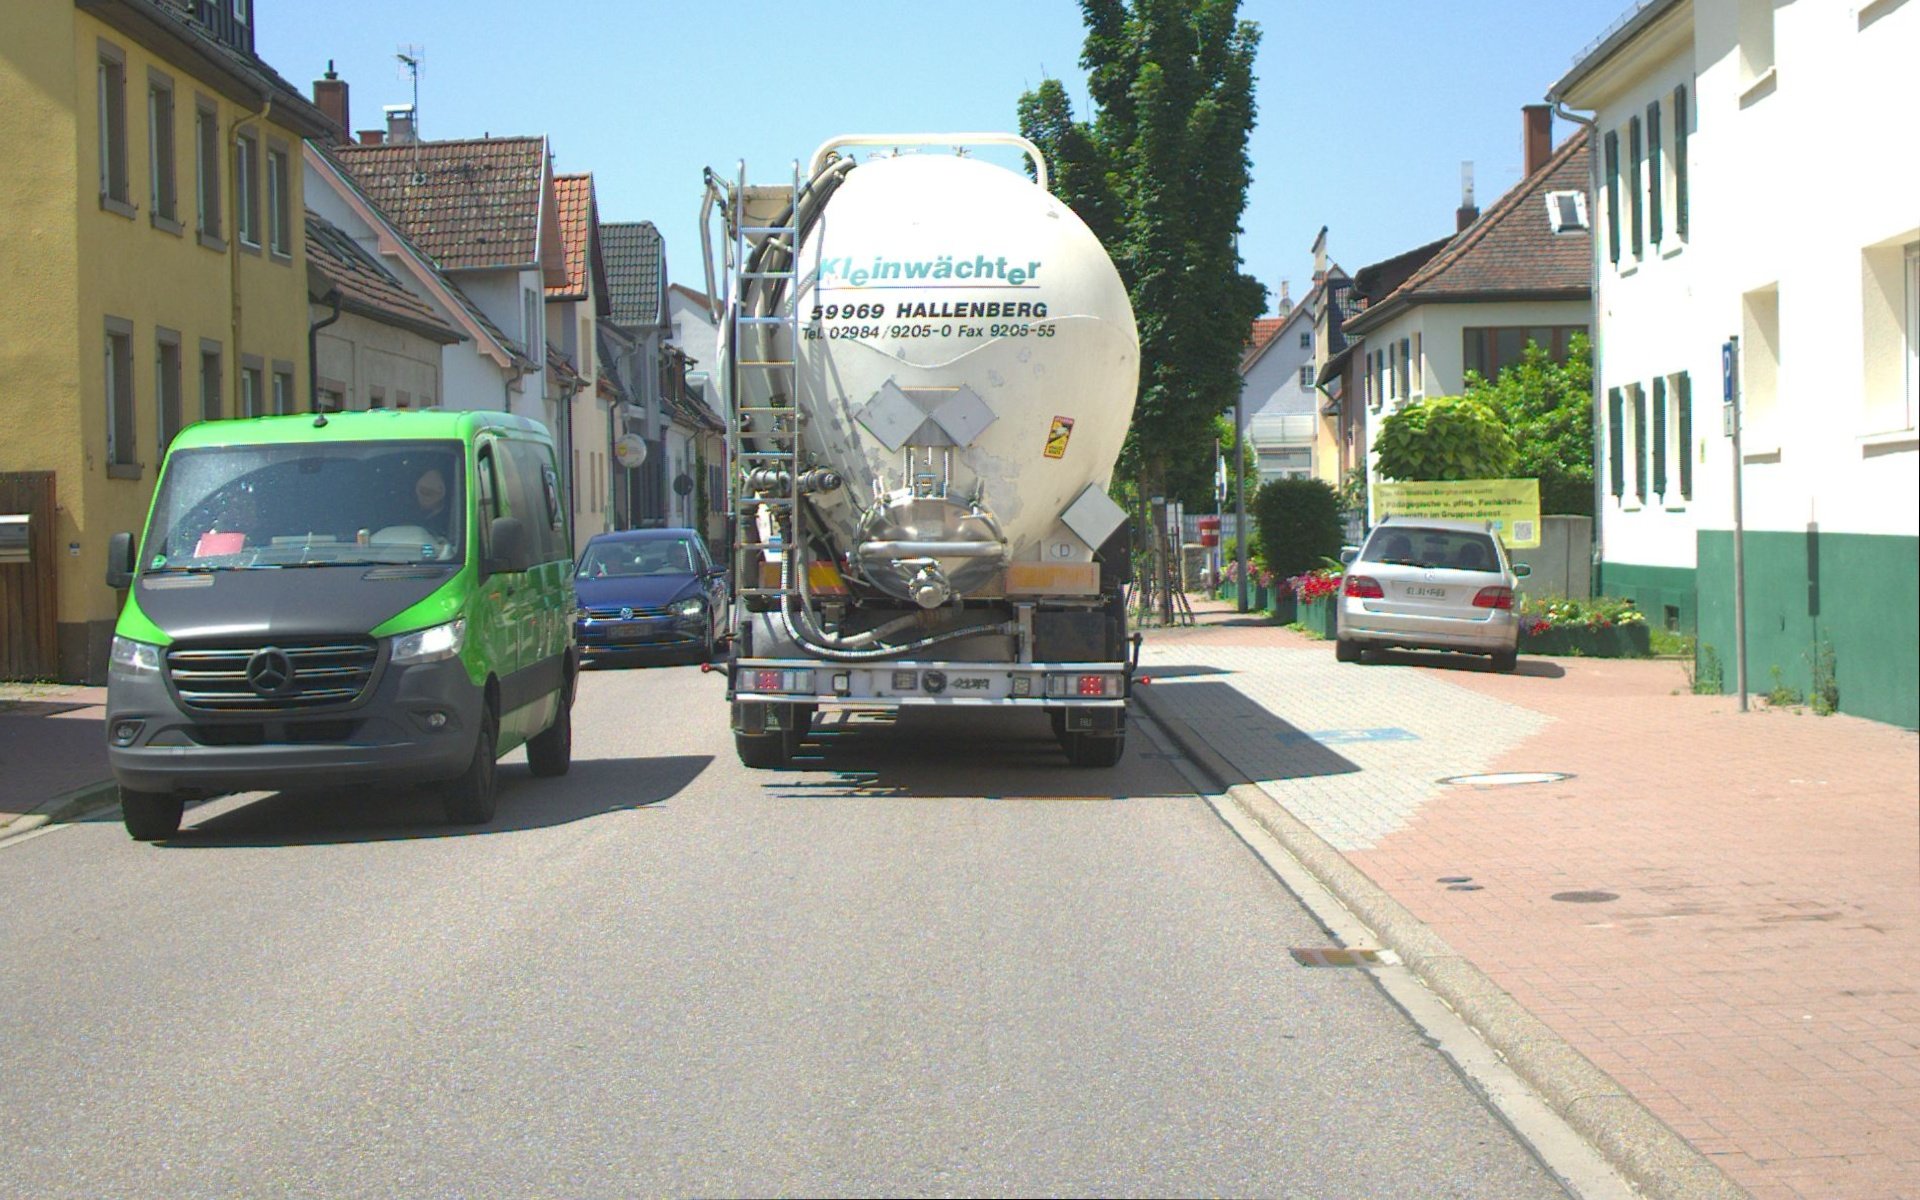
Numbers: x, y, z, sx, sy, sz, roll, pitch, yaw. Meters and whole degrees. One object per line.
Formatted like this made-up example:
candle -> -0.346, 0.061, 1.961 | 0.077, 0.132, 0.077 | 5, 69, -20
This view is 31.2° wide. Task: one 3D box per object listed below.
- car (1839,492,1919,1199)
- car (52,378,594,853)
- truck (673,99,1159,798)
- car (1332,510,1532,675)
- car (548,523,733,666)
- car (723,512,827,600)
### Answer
car -> 2.569, 0.575, 4.981 | 1.610, 1.523, 3.677 | -2, 1, 0
car -> -3.549, 0.005, 20.470 | 2.051, 2.345, 6.082 | -2, 1, 0
truck -> -0.336, -0.915, 23.611 | 2.732, 3.946, 8.142 | 0, 1, -1
car -> 4.907, -0.135, 35.523 | 1.815, 1.457, 4.883 | 4, 2, 9
car -> -3.712, -0.105, 40.526 | 1.765, 1.531, 4.078 | -2, 1, 0
car -> -3.728, -0.917, 69.849 | 1.839, 1.664, 4.324 | -2, 1, 0
